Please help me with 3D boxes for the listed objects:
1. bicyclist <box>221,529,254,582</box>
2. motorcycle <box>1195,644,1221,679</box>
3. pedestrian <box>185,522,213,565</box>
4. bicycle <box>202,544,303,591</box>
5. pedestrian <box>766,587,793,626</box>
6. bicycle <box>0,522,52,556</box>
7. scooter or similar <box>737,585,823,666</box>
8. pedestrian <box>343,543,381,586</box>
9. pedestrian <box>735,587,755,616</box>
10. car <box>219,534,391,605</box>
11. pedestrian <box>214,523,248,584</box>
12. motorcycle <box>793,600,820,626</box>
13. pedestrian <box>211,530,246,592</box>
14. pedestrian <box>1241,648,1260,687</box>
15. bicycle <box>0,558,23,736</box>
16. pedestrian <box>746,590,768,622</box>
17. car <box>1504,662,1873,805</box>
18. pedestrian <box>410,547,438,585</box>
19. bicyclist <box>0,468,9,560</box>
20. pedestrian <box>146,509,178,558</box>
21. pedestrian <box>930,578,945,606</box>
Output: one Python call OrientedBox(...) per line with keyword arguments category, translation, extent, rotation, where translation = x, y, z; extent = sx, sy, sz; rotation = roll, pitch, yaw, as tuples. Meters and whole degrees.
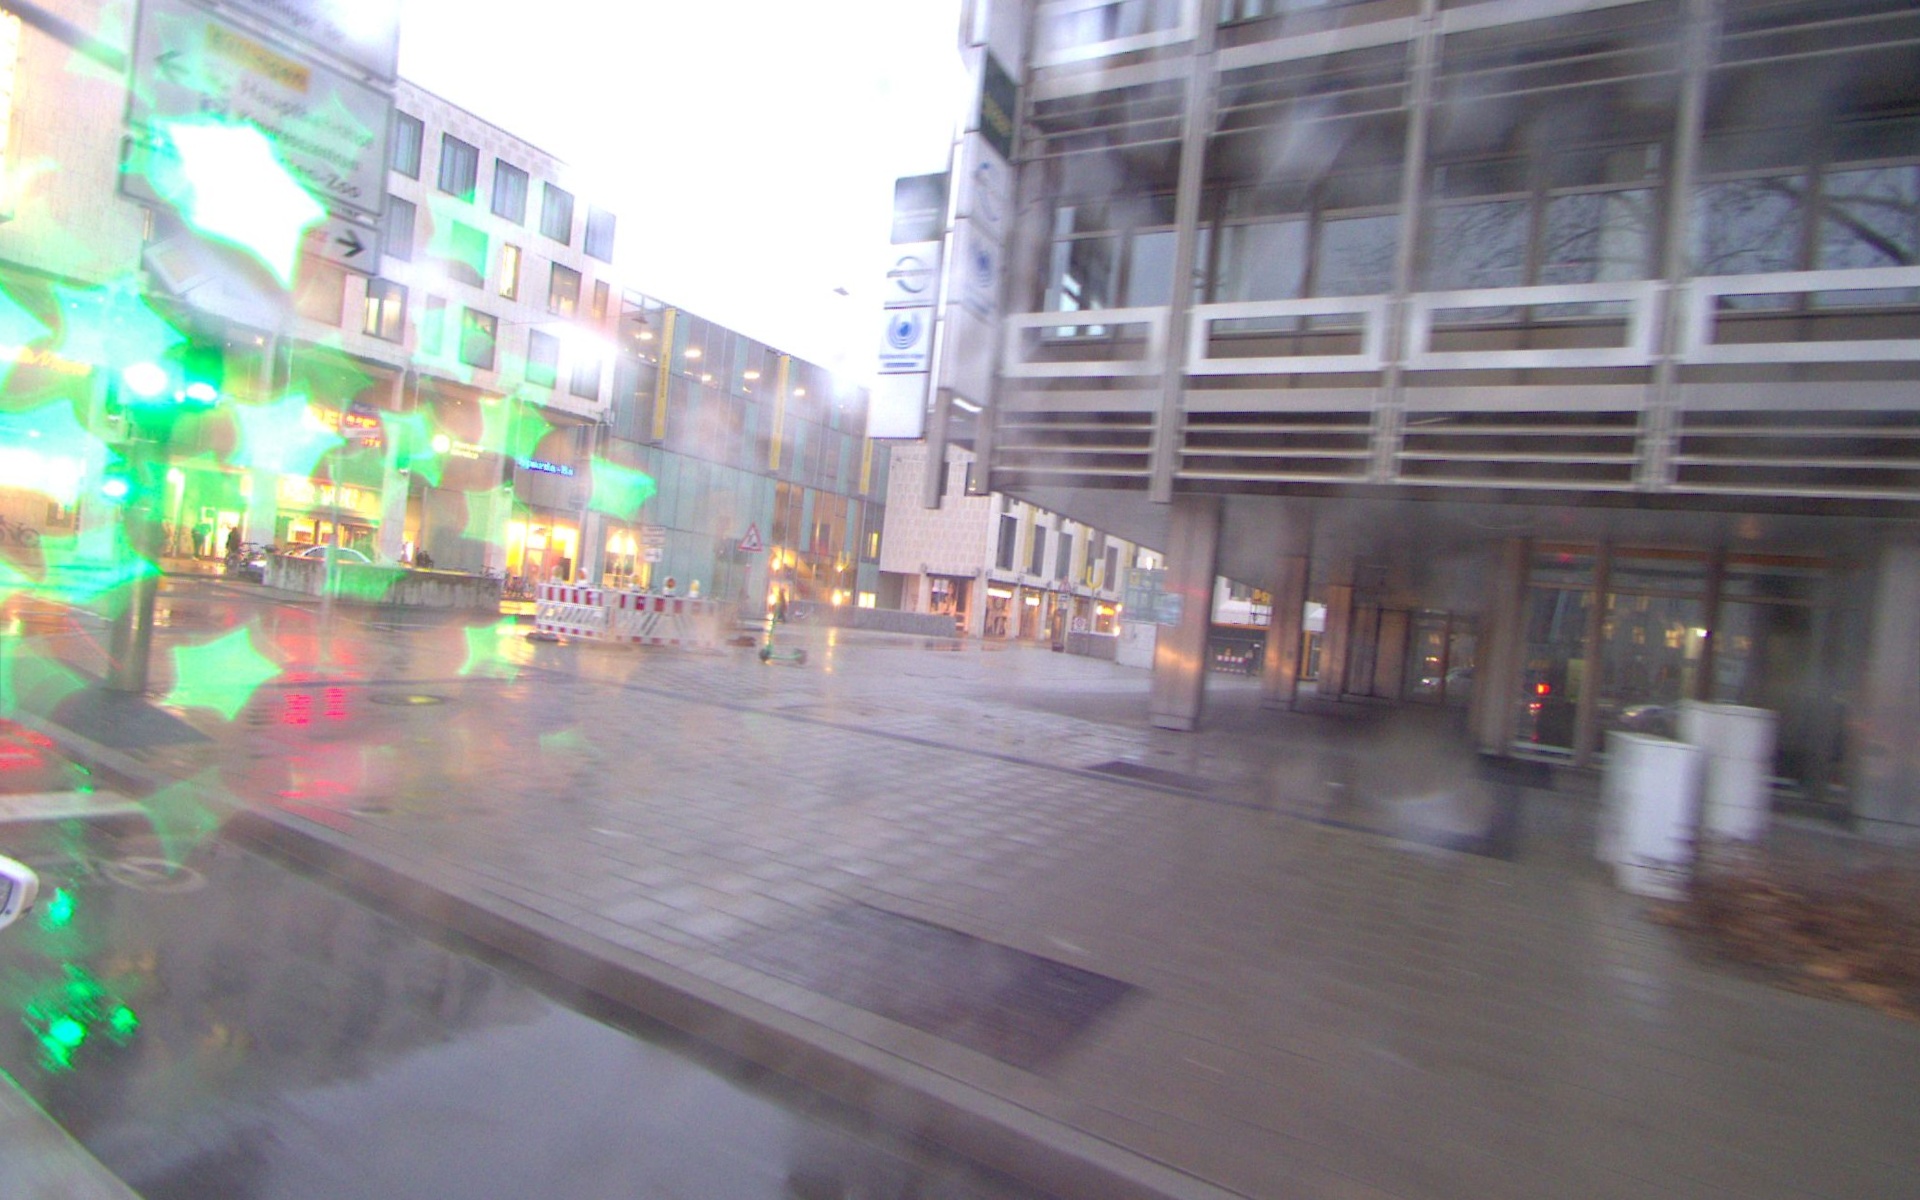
OrientedBox(category="bicyclist", translation=(-29.301, -1.814, 40.810), extent=(0.916, 2.038, 0.898), rotation=(6, 0, -35))
OrientedBox(category="motorcycle", translation=(10.697, 2.669, 43.352), extent=(0.584, 1.368, 1.493), rotation=(7, -2, 29))
OrientedBox(category="pedestrian", translation=(-32.743, -2.437, 43.289), extent=(0.729, 1.739, 0.733), rotation=(5, 0, -31))
OrientedBox(category="bicycle", translation=(-25.258, -1.128, 35.981), extent=(0.941, 1.375, 2.718), rotation=(6, -1, 28))
OrientedBox(category="pedestrian", translation=(-8.444, 0.286, 47.121), extent=(0.770, 1.703, 0.742), rotation=(6, -2, 37))
OrientedBox(category="bicycle", translation=(-35.310, -2.307, 37.748), extent=(0.515, 1.082, 1.651), rotation=(6, -2, 28))
OrientedBox(category="scooter or similar", translation=(-3.480, 0.494, 19.427), extent=(1.470, 1.368, 0.593), rotation=(6, -1, 31))
OrientedBox(category="pedestrian", translation=(-26.073, -1.528, 43.873), extent=(0.810, 1.703, 1.032), rotation=(6, -2, 31))
OrientedBox(category="pedestrian", translation=(-13.188, 0.094, 61.679), extent=(0.770, 1.703, 0.742), rotation=(6, -2, 37))
OrientedBox(category="car", translation=(-20.614, -0.919, 31.813), extent=(1.968, 1.636, 3.994), rotation=(6, -3, 32))
OrientedBox(category="pedestrian", translation=(-31.010, -1.962, 42.802), extent=(0.745, 2.469, 0.691), rotation=(6, -1, 31))
OrientedBox(category="motorcycle", translation=(-9.193, 0.792, 60.316), extent=(0.585, 1.368, 1.491), rotation=(7, -2, 35))
OrientedBox(category="pedestrian", translation=(-30.359, -1.615, 41.746), extent=(0.745, 2.469, 0.716), rotation=(6, -1, 31))
OrientedBox(category="pedestrian", translation=(13.952, 3.239, 48.382), extent=(0.678, 1.796, 0.660), rotation=(6, -1, 16))
OrientedBox(category="bicycle", translation=(-6.930, 0.199, 6.534), extent=(1.754, 1.107, 0.709), rotation=(7, 0, 31))
OrientedBox(category="pedestrian", translation=(-11.632, 0.365, 57.774), extent=(0.770, 1.703, 0.742), rotation=(6, -2, 37))
OrientedBox(category="car", translation=(10.143, 1.781, 14.403), extent=(3.935, 1.327, 1.995), rotation=(6, 0, 33))
OrientedBox(category="pedestrian", translation=(-25.554, -1.638, 47.974), extent=(0.519, 1.705, 0.894), rotation=(5, 0, 31))
OrientedBox(category="bicyclist", translation=(-6.867, -0.086, 6.509), extent=(0.948, 1.680, 0.703), rotation=(7, 0, 31))
OrientedBox(category="pedestrian", translation=(-35.111, -2.932, 44.252), extent=(0.688, 2.038, 0.845), rotation=(6, 0, 40))
OrientedBox(category="pedestrian", translation=(-1.424, -0.493, 63.315), extent=(0.573, 1.703, 0.542), rotation=(6, -1, 37))
